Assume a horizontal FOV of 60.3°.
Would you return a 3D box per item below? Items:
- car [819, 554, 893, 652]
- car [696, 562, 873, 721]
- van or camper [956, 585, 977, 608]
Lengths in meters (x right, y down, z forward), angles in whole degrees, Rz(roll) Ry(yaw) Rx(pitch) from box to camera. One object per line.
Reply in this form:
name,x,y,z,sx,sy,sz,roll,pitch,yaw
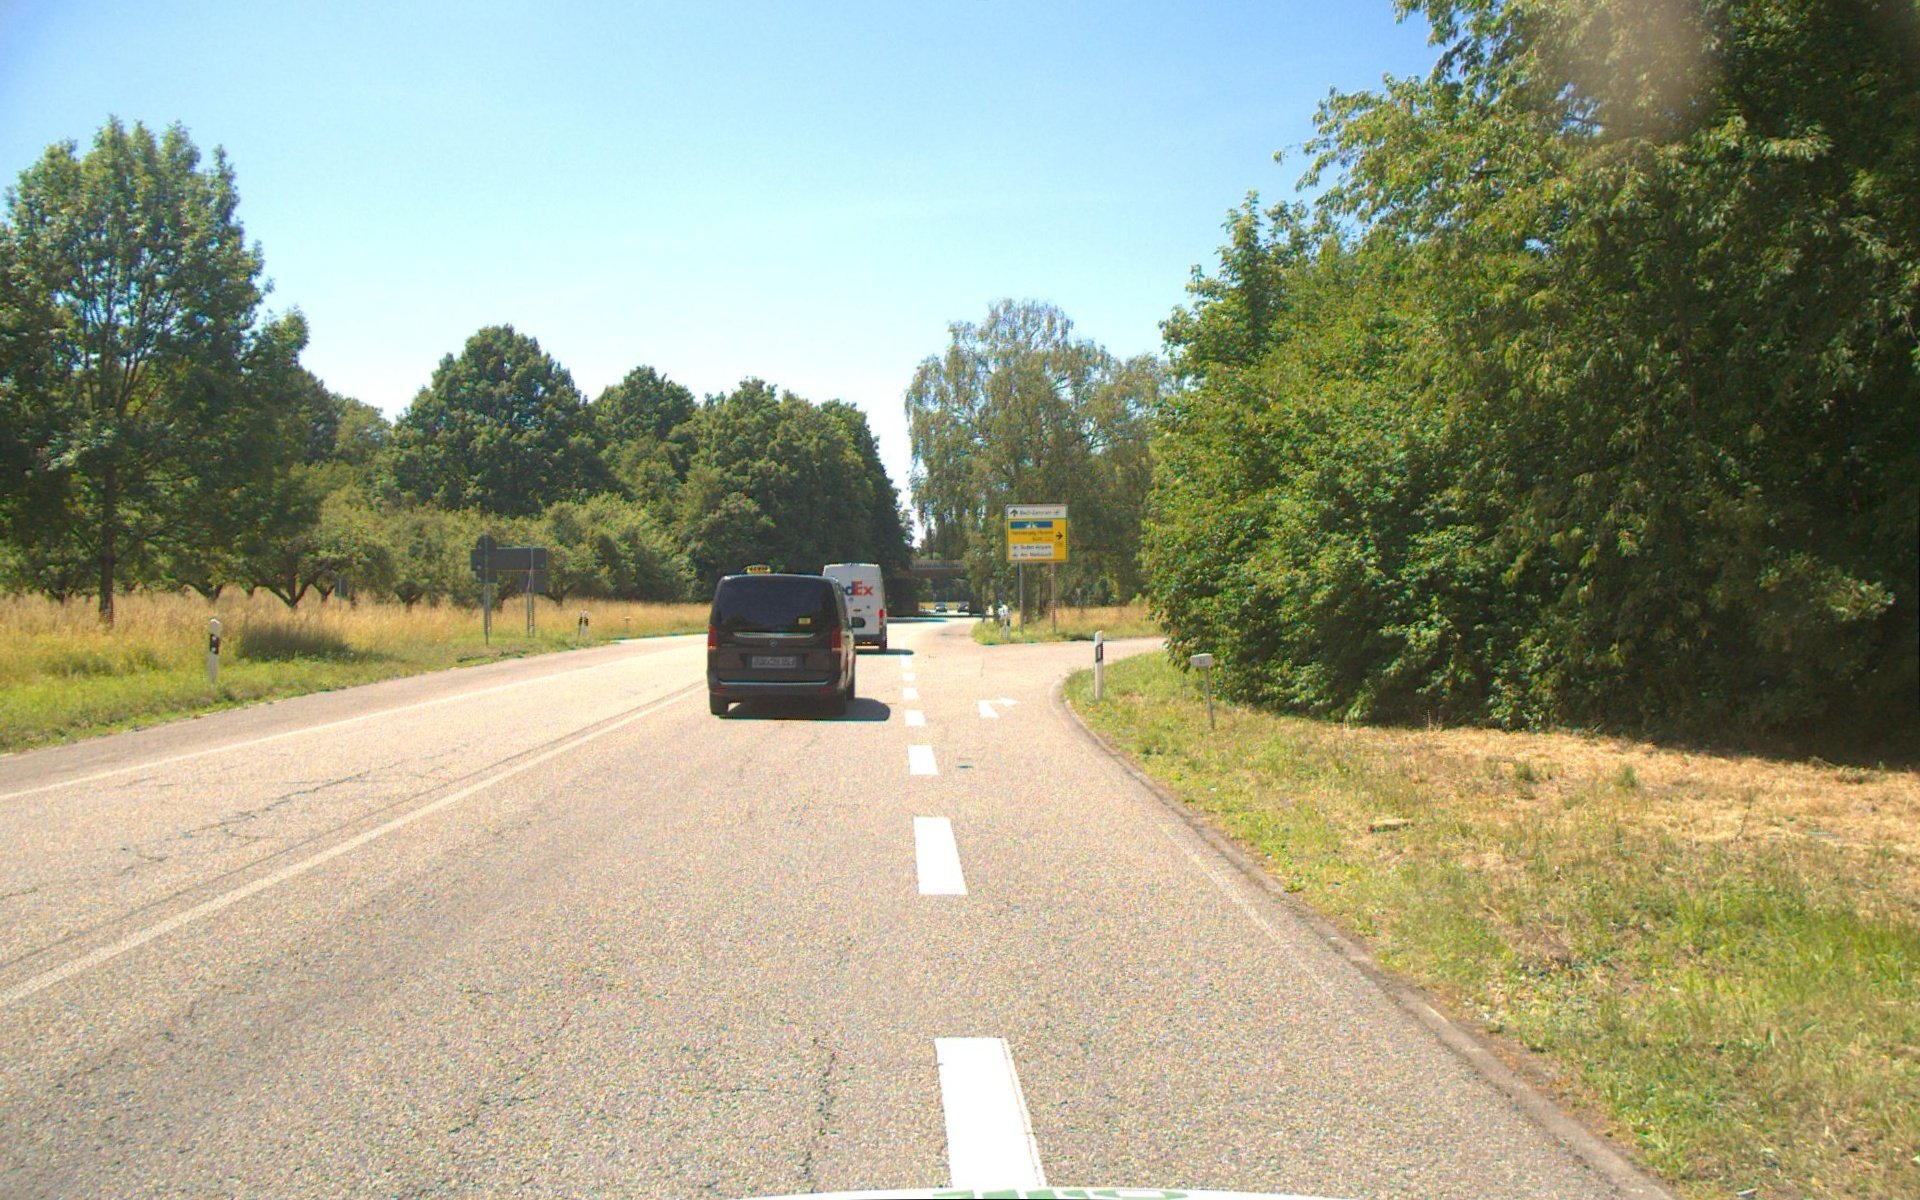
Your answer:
car,-3.099,0.085,49.730,2.037,2.750,4.663,2,0,-3
car,-2.386,0.536,23.706,1.953,1.987,5.004,2,0,0
van or camper,0.901,-0.429,225.494,2.579,2.980,5.203,1,0,-3
